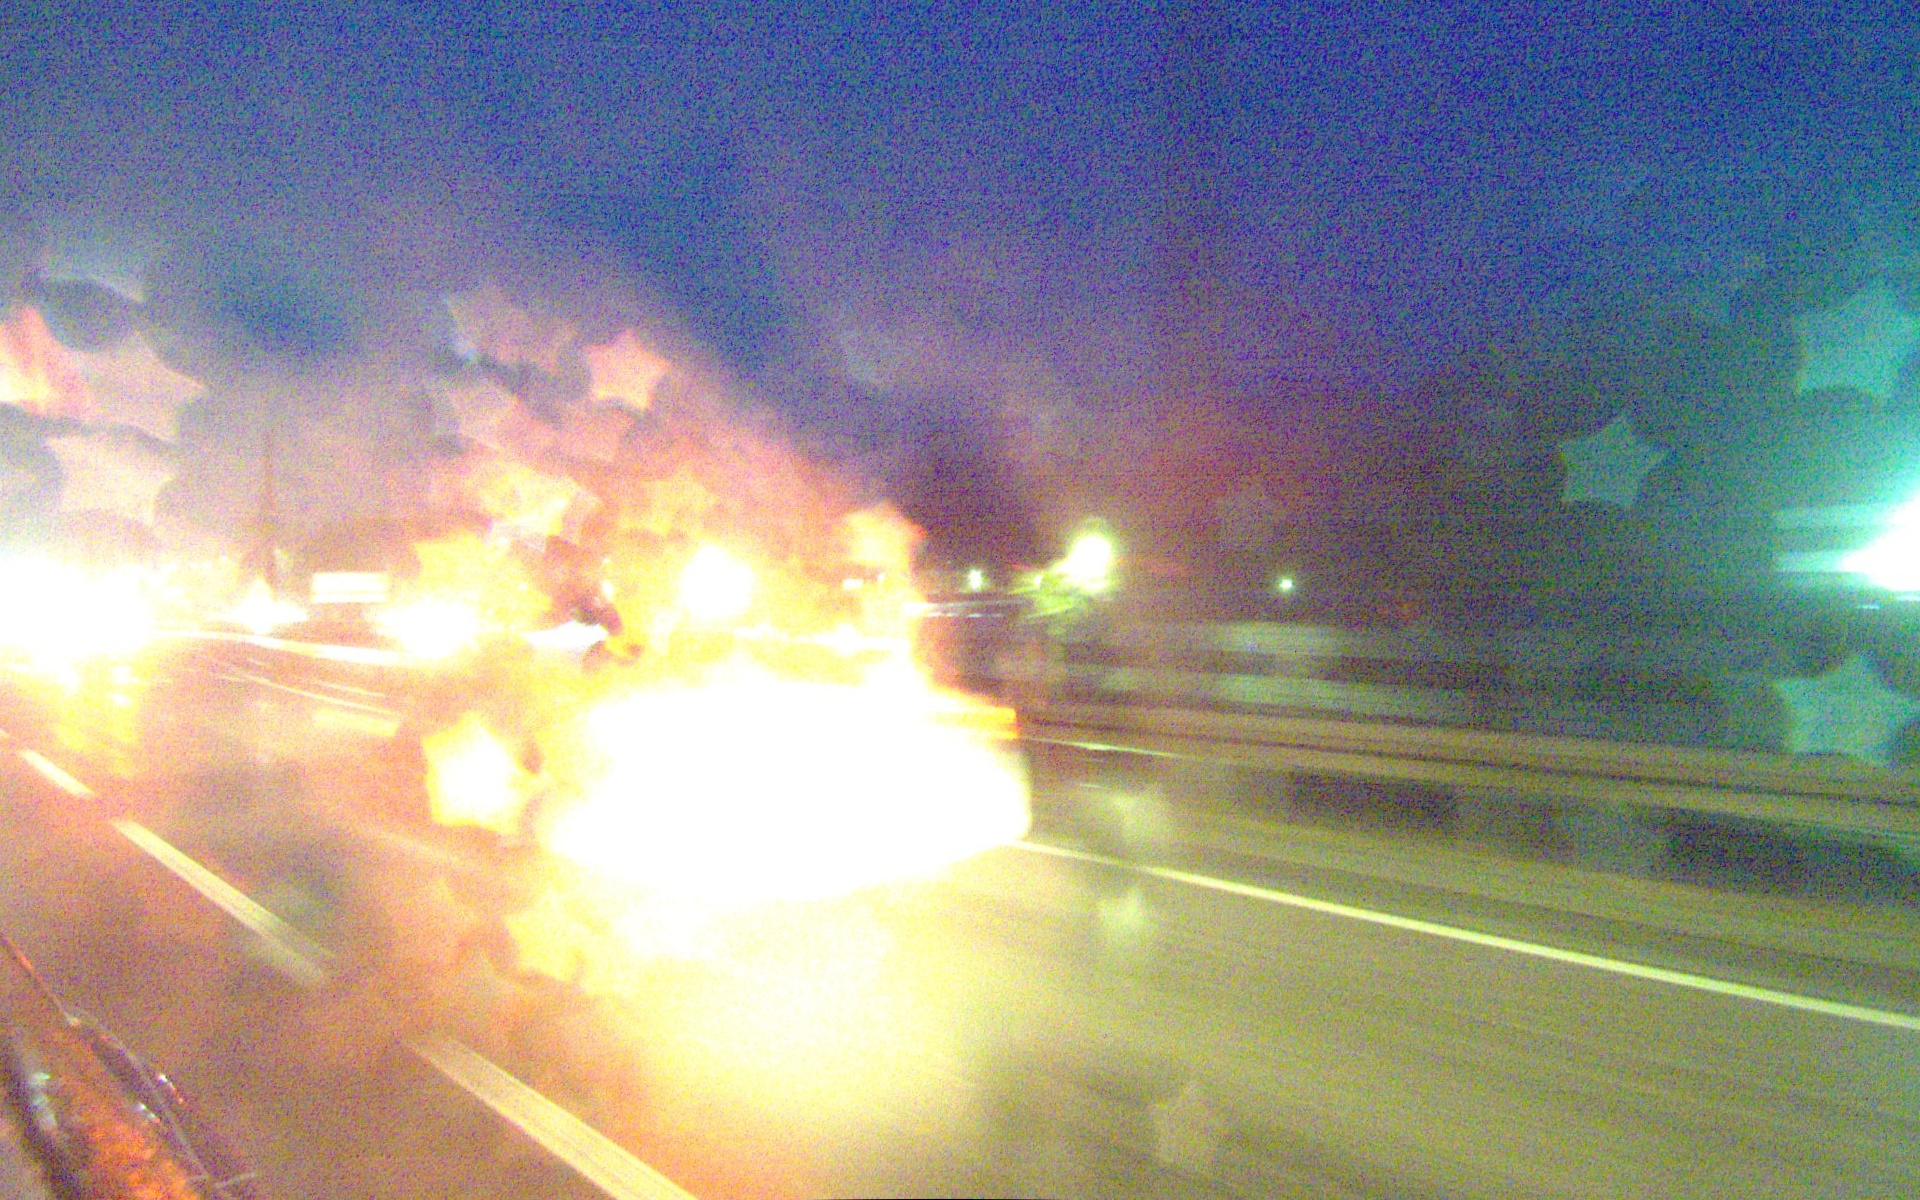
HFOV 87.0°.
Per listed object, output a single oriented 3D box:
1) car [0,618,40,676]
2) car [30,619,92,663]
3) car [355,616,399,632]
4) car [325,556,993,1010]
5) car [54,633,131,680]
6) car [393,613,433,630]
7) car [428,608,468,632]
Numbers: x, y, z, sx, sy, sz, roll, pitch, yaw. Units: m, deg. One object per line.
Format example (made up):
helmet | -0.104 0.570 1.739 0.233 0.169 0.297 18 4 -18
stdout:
car | -28.658 1.376 29.863 4.085 1.627 1.902 -1 -1 43
car | -41.062 1.814 46.189 1.970 1.879 5.324 0 -1 -43
car | -63.648 2.627 110.455 3.963 1.603 1.990 -1 -1 15
car | -2.064 0.718 5.920 4.519 1.695 1.636 -1 -1 42
car | -29.578 1.868 34.455 1.782 1.393 4.776 0 -1 -43
car | -58.515 2.287 108.232 4.433 1.706 1.832 -1 -1 32
car | -52.244 2.021 103.228 1.970 2.325 6.026 0 -1 -44
